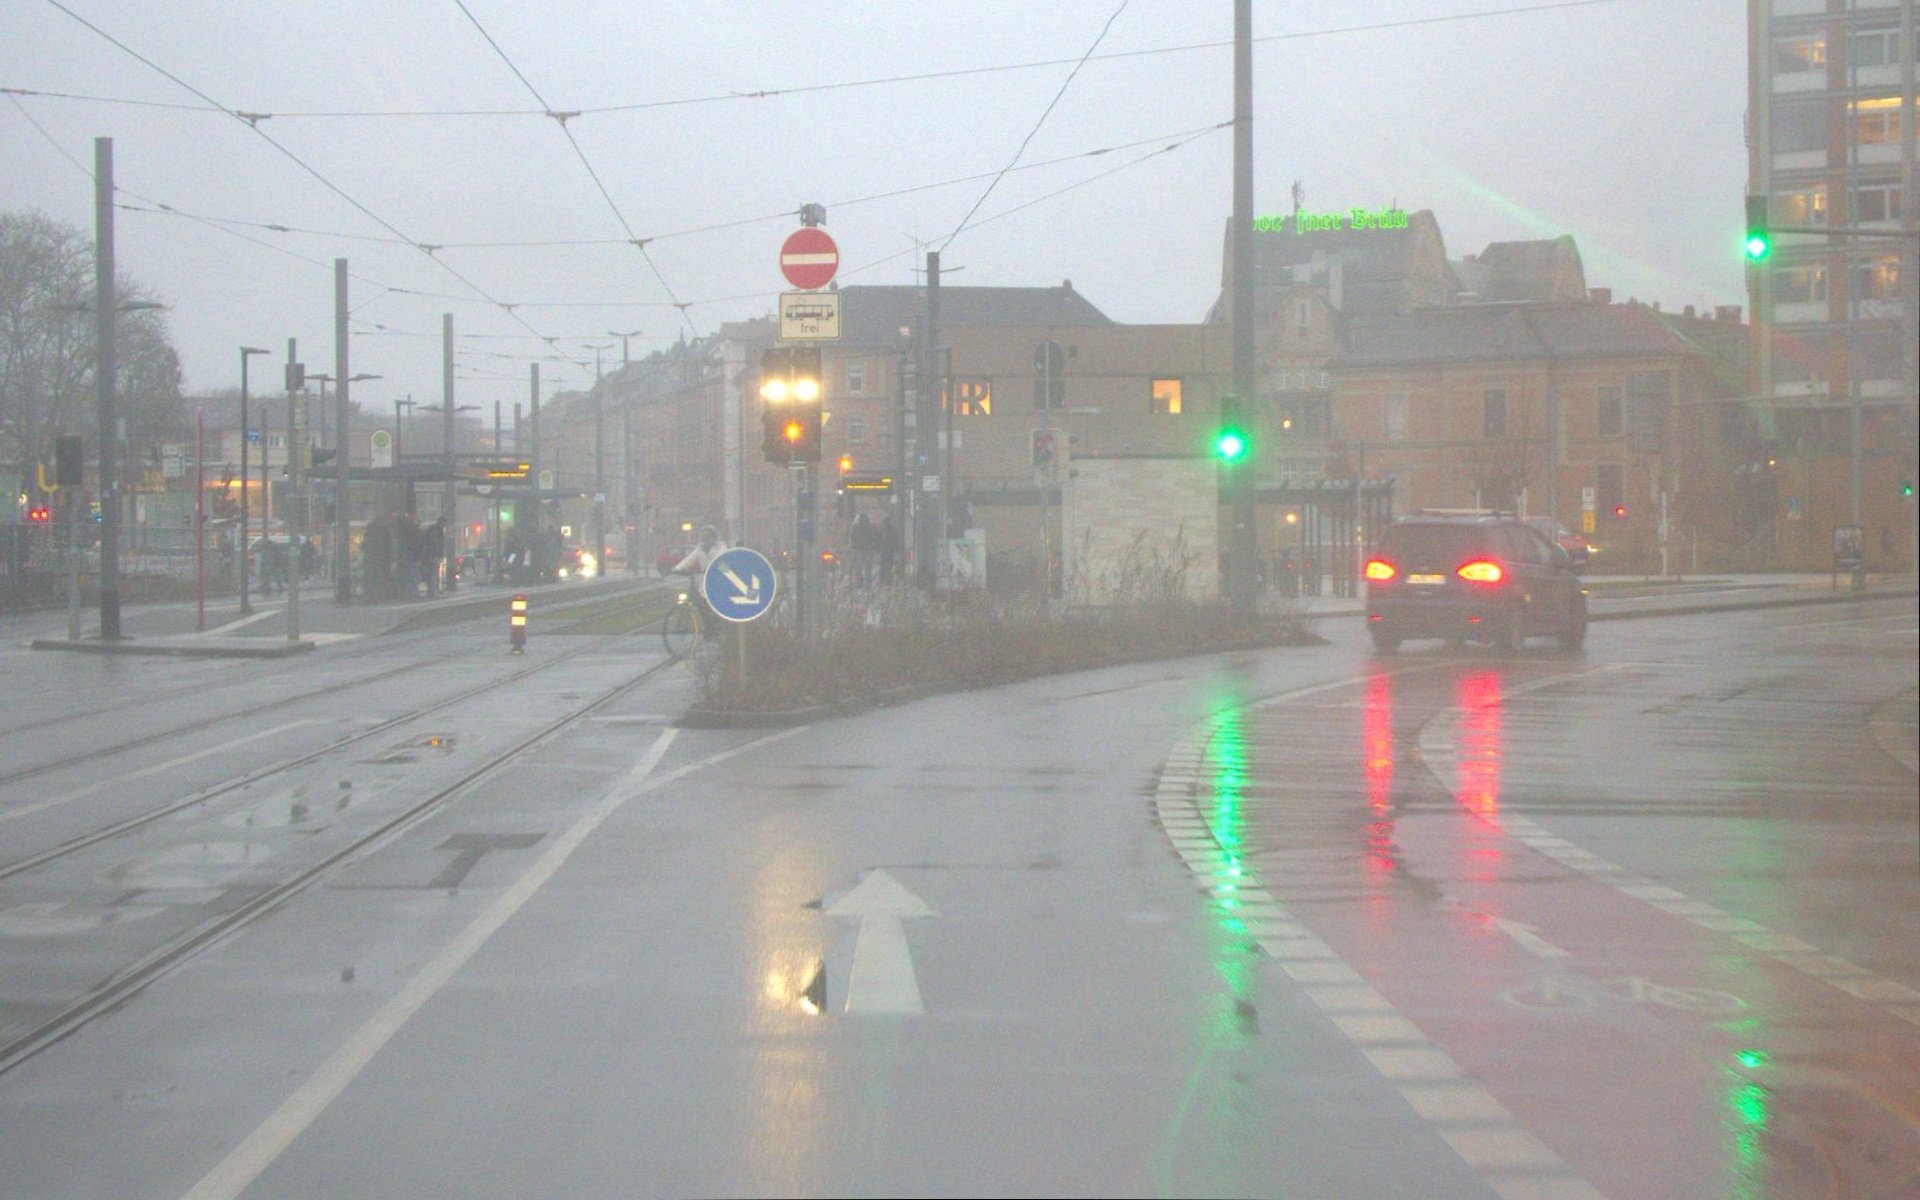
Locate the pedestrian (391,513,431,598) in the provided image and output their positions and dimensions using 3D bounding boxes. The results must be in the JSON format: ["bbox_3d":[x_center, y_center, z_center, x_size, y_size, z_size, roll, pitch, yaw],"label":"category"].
[{"bbox_3d":[-11.521,-0.934,72.203,0.712,1.751,0.717,1,0,-1],"label":"pedestrian"}]

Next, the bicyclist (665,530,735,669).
[{"bbox_3d":[-3.363,-0.008,44.488,0.611,1.762,0.588,2,1,43],"label":"bicyclist"}]

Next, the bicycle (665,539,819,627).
[{"bbox_3d":[-2.844,-0.230,45.065,0.628,1.070,2.204,2,3,41],"label":"bicycle"}]

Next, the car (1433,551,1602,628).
[{"bbox_3d":[17.808,-0.357,110.017,2.252,2.273,5.036,1,1,-40],"label":"car"}]

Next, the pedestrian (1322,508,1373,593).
[{"bbox_3d":[7.755,-0.995,68.772,0.674,1.668,0.729,2,1,37],"label":"pedestrian"}]

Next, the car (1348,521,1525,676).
[{"bbox_3d":[6.179,-0.063,44.240,1.648,1.812,3.997,1,2,16],"label":"car"}]

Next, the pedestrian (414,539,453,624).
[{"bbox_3d":[-11.395,-0.403,74.436,0.712,1.800,0.717,1,0,-1],"label":"pedestrian"}]
